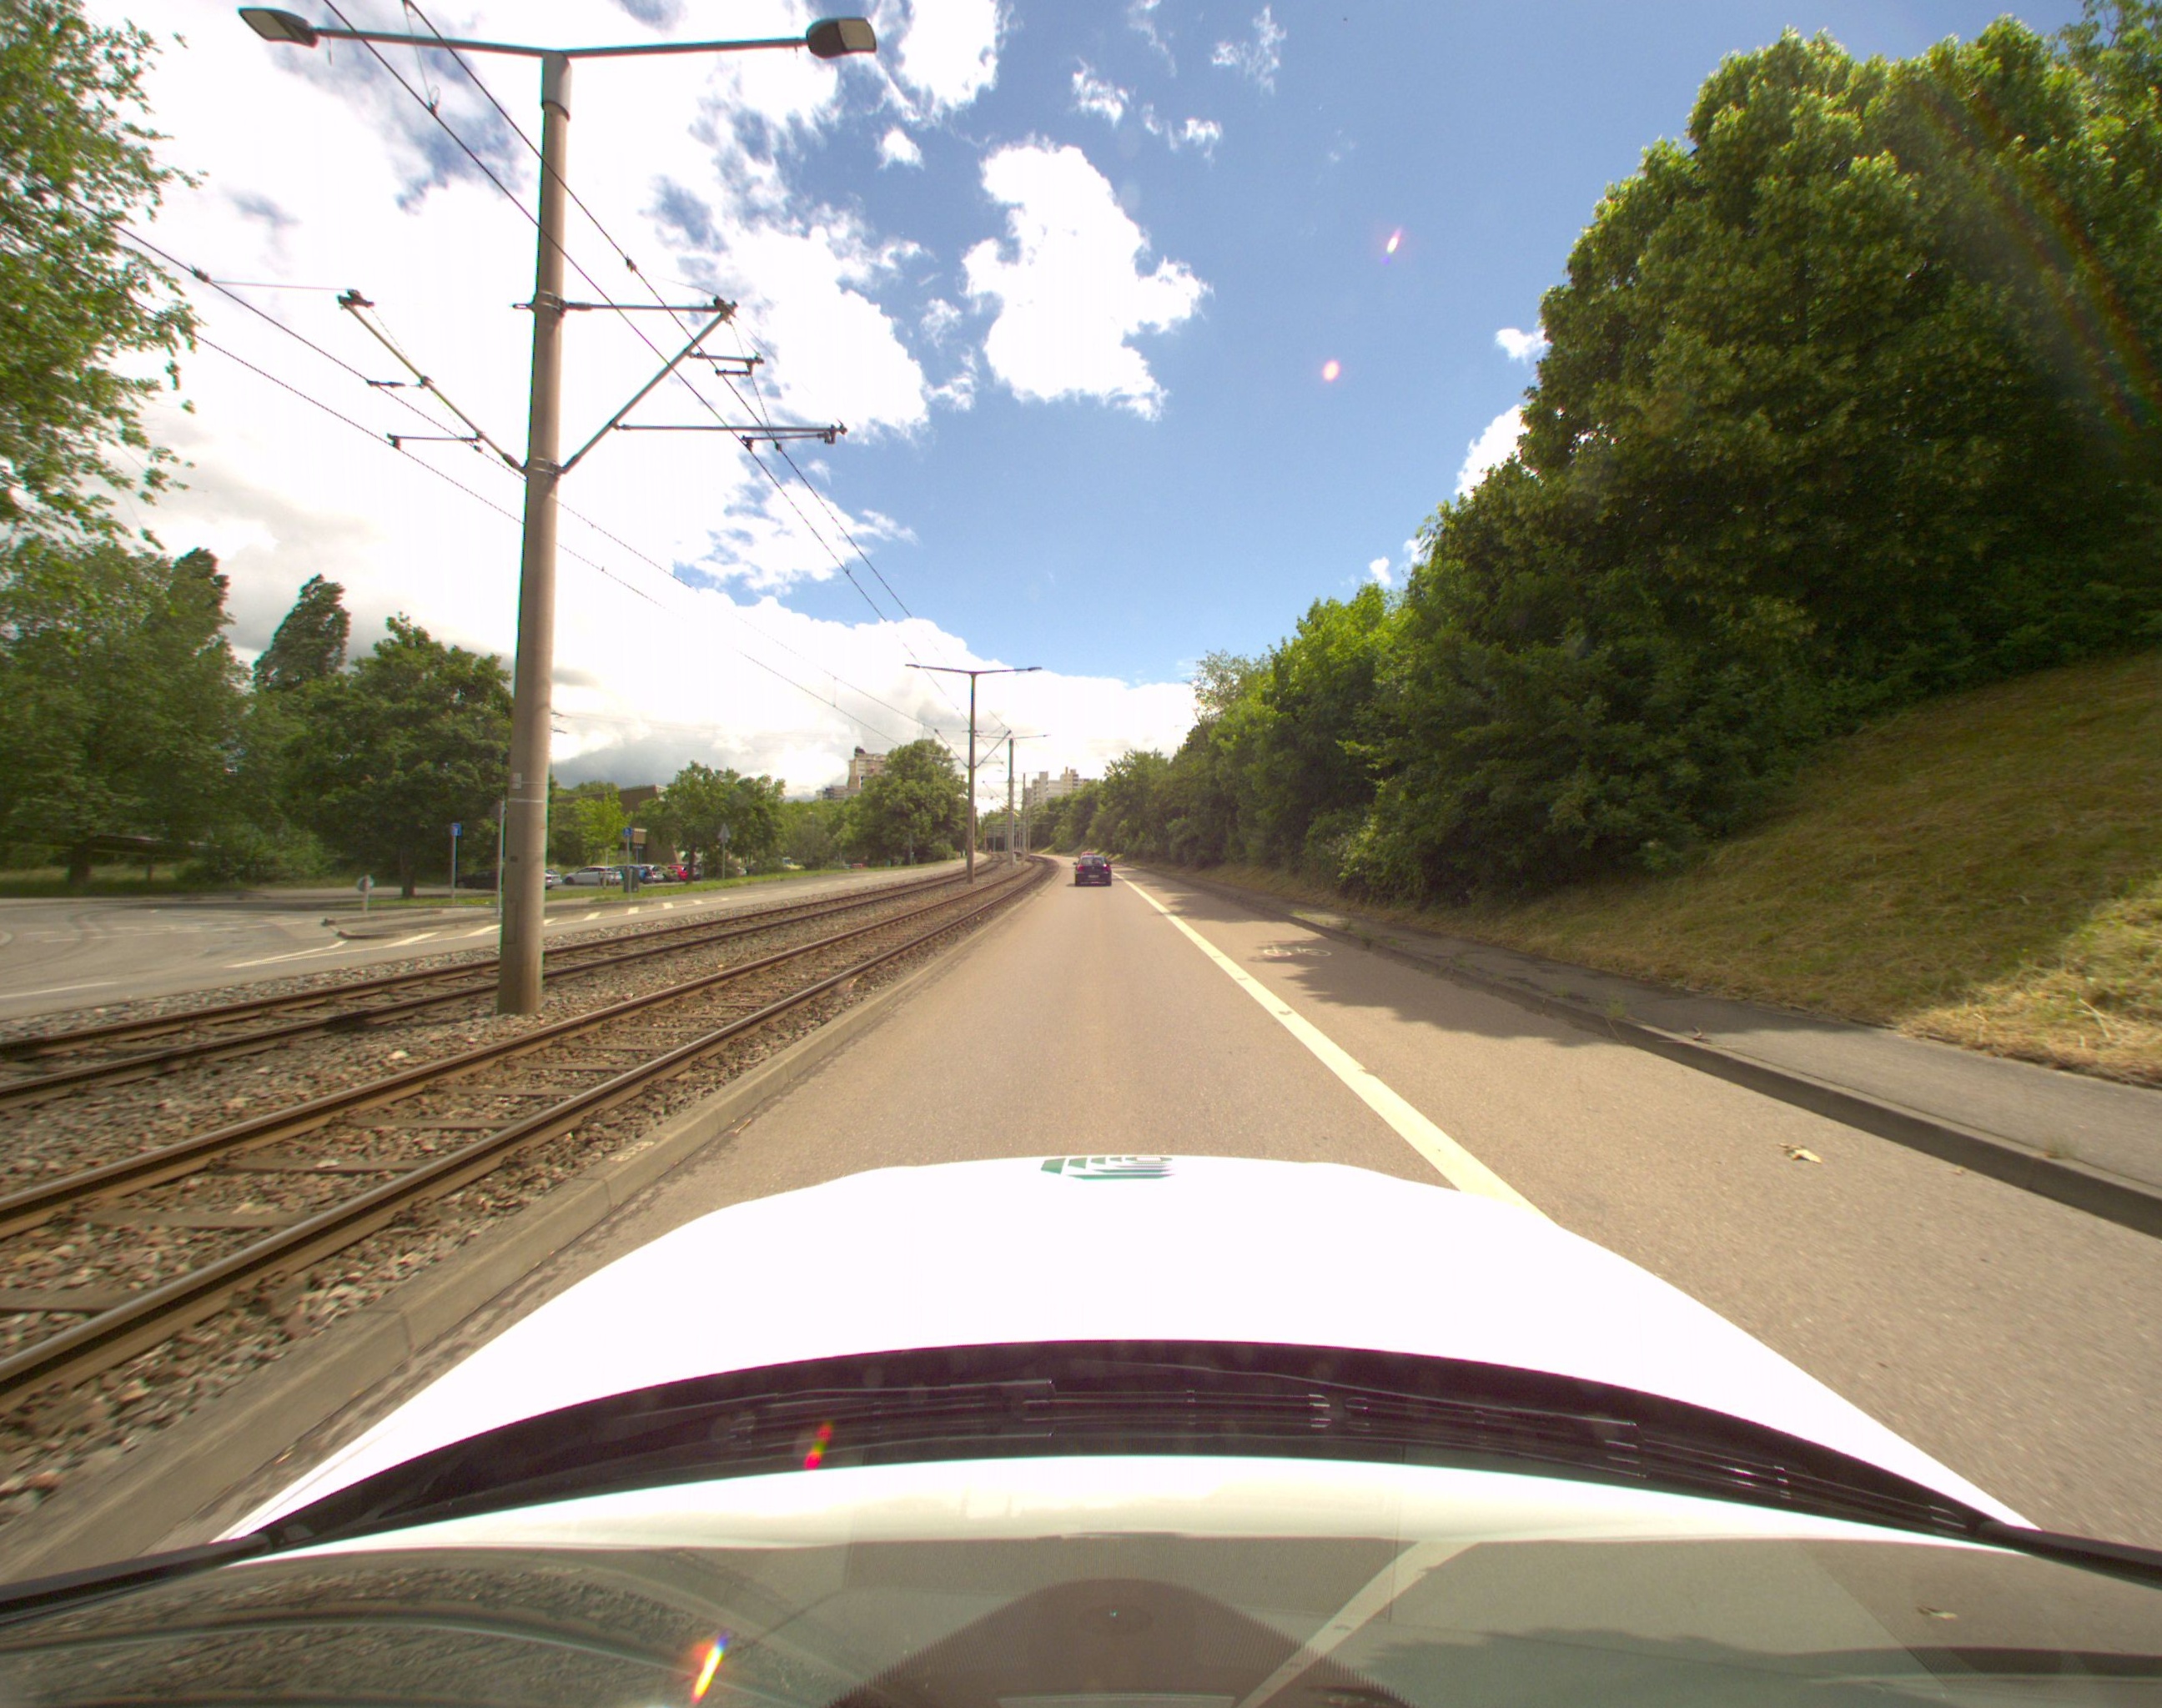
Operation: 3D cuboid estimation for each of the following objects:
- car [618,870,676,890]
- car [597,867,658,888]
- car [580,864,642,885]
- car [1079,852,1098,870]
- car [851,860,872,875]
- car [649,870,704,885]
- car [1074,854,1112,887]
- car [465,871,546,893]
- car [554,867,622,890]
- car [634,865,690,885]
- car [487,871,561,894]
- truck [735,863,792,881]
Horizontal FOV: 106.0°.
[{"bbox_3d":[-37.725,2.238,70.810,3.936,1.580,1.998,1,1,4],"label":"car"},{"bbox_3d":[-37.818,1.908,67.902,3.936,1.580,1.996,1,1,4],"label":"car"},{"bbox_3d":[-37.987,1.632,65.849,3.936,1.580,1.871,1,1,4],"label":"car"},{"bbox_3d":[0.663,0.650,74.133,1.618,1.444,3.422,1,-2,2],"label":"car"},{"bbox_3d":[-28.601,1.720,106.285,1.812,1.772,3.994,-1,0,-4],"label":"car"},{"bbox_3d":[-37.516,2.185,75.612,4.064,1.252,1.998,1,1,4],"label":"car"},{"bbox_3d":[0.588,0.765,38.735,1.702,1.460,3.961,2,-1,1],"label":"car"},{"bbox_3d":[-36.781,1.814,52.085,3.945,1.276,1.780,1,-2,5],"label":"car"},{"bbox_3d":[-37.242,1.828,61.555,3.910,1.580,1.839,1,1,-6],"label":"car"},{"bbox_3d":[-37.498,1.873,72.971,3.936,1.580,1.998,1,1,4],"label":"car"},{"bbox_3d":[-36.990,1.904,54.128,3.850,1.391,1.576,1,-2,5],"label":"car"},{"bbox_3d":[-56.883,3.185,145.921,9.158,2.695,2.587,-2,0,-35],"label":"truck"}]
